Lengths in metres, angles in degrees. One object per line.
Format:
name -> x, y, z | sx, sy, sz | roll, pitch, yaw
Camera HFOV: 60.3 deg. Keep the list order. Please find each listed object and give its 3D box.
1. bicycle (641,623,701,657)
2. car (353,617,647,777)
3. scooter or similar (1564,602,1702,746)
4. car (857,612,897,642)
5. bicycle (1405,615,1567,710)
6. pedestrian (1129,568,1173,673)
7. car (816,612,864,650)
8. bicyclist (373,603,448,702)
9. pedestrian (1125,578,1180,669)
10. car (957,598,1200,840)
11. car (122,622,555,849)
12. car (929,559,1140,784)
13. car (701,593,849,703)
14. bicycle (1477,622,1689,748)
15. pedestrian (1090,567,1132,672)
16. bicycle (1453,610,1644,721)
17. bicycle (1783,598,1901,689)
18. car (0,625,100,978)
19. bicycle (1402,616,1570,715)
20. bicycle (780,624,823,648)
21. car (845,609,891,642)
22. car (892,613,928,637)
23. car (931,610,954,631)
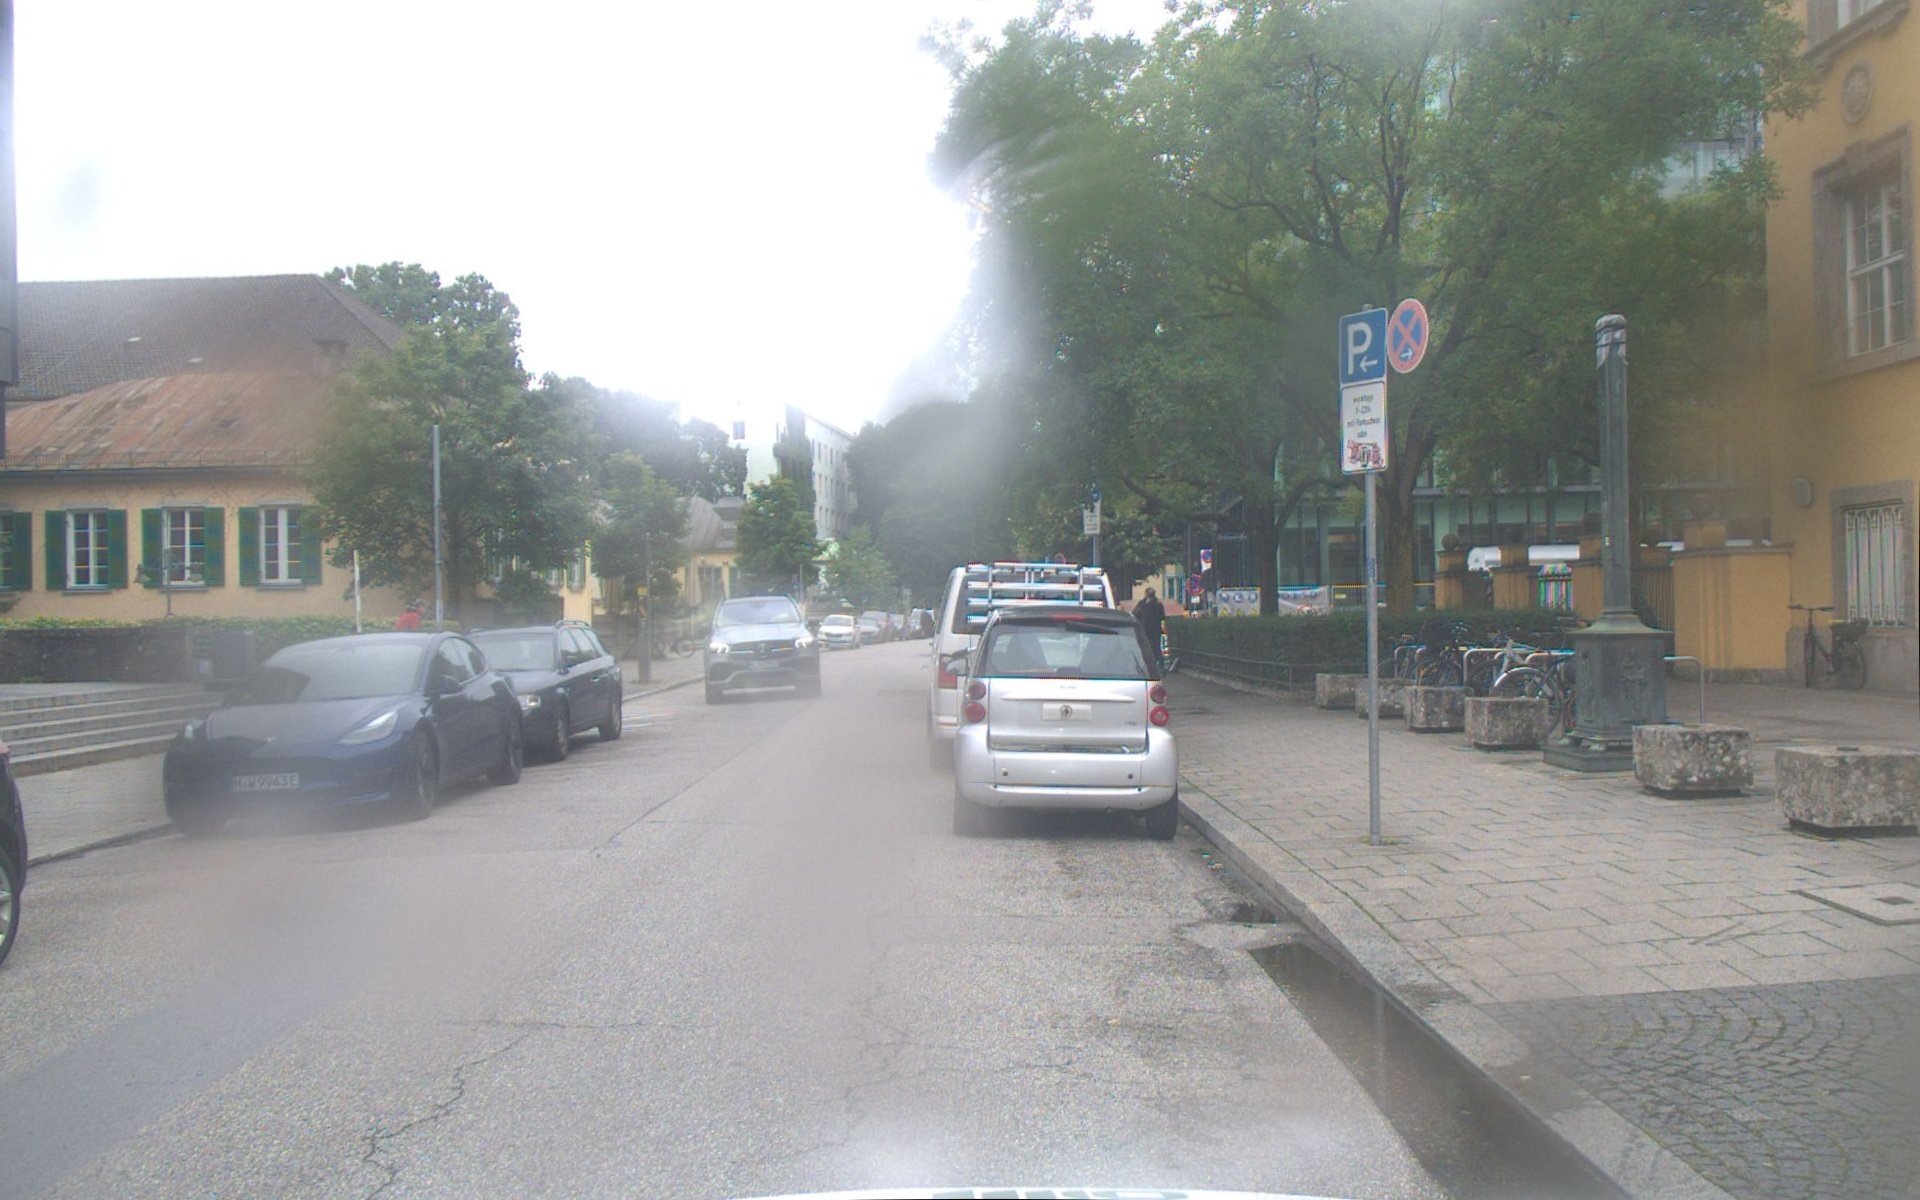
bicycle -> -9.735, 1.351, 55.712 | 1.890, 1.118, 0.615 | 1, -1, 2
car -> -5.130, 1.009, 19.222 | 1.953, 1.517, 4.883 | -3, -1, 0
scooter or similar -> 6.098, 0.665, 15.007 | 0.995, 1.243, 0.534 | -3, -1, 45
car -> -4.616, 1.519, 92.829 | 1.952, 1.631, 4.000 | -1, -1, 1
bicycle -> 6.779, 0.799, 21.359 | 1.892, 1.133, 0.471 | -2, -1, 1
pedestrian -> 4.035, 0.432, 35.046 | 0.727, 2.172, 1.055 | -2, -1, -1
car -> -5.417, 1.381, 75.152 | 1.697, 1.609, 3.788 | 2, 0, 3
bicyclist -> -8.717, 0.832, 26.237 | 1.077, 1.524, 0.669 | 0, -2, -24
pedestrian -> 4.218, 0.511, 36.261 | 0.729, 1.941, 1.052 | -2, -1, 35
car -> 0.783, 0.793, 12.379 | 1.573, 1.573, 2.933 | 1, 0, 0
car -> -4.922, 0.979, 13.964 | 1.884, 1.464, 4.915 | -3, -1, -2
car -> 0.619, 0.658, 17.479 | 1.808, 1.967, 5.271 | 2, 0, -2
car -> -3.163, 0.793, 29.239 | 1.983, 1.719, 4.677 | -2, 0, 1
bicycle -> 6.126, 0.823, 16.298 | 1.893, 1.133, 0.471 | -2, -1, -4
pedestrian -> 3.203, 0.404, 35.176 | 0.727, 2.172, 1.055 | -2, -1, -1
bicycle -> 6.483, 0.715, 18.264 | 1.891, 1.133, 0.471 | -2, -1, 1
bicycle -> 12.056, 0.565, 22.668 | 0.531, 1.174, 1.901 | -2, 0, -2
car -> -4.967, 0.899, 5.665 | 1.704, 1.486, 4.237 | -3, 0, 1
bicycle -> 6.524, 0.807, 20.565 | 1.891, 1.133, 0.471 | -2, -1, 1
bicycle -> -6.771, 1.531, 70.626 | 0.610, 1.022, 2.134 | 1, 0, 32
car -> -4.865, 1.346, 87.747 | 1.952, 1.677, 4.656 | -1, 0, 2
car -> -3.337, 1.629, 110.689 | 1.952, 1.512, 4.002 | -1, 0, 4
car -> -1.484, 1.727, 142.047 | 1.773, 1.712, 4.001 | -1, 0, 2
